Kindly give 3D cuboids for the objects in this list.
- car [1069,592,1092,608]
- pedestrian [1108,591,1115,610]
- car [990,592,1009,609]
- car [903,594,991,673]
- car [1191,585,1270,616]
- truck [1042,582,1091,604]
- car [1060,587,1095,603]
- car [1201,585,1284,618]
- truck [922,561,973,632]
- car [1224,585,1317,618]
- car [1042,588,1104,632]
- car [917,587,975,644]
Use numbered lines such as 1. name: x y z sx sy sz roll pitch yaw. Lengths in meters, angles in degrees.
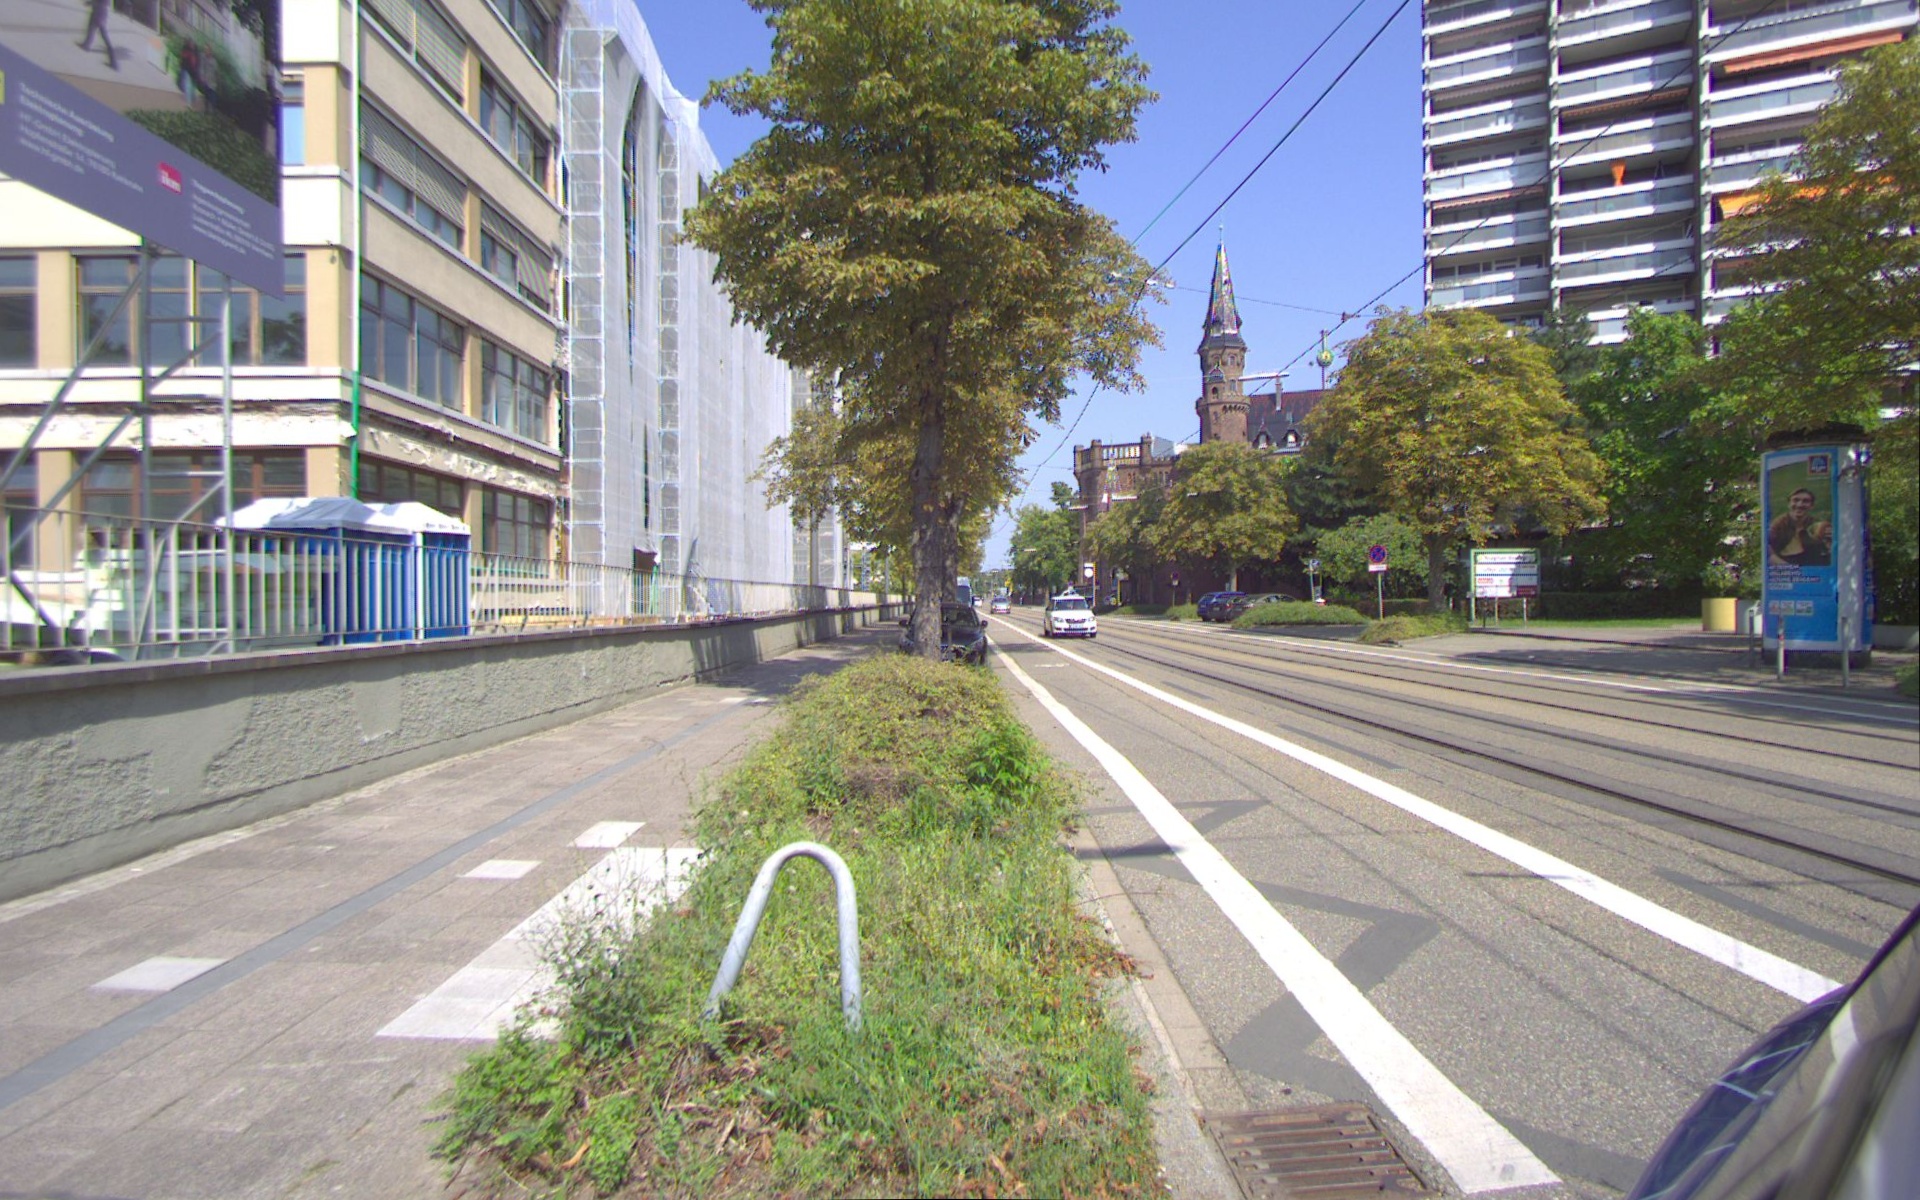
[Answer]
1. car: 12.176 0.001 102.447 1.905 1.521 4.511 -1 0 2
2. pedestrian: 15.408 0.056 103.166 0.503 2.006 0.511 -1 0 44
3. car: 3.727 0.027 95.533 1.647 1.505 3.778 0 0 0
4. car: -0.253 0.634 21.288 1.647 1.476 4.663 0 0 0
5. car: 14.944 0.023 55.917 3.917 1.669 1.845 -1 0 -23
6. truck: 14.756 -0.933 140.753 6.394 2.556 2.316 -5 -1 1
7. car: 15.626 -0.673 134.724 4.331 1.820 1.998 -5 -1 3
8. car: 14.672 0.071 52.534 3.918 1.590 1.783 -1 0 -27
9. truck: -0.534 -0.154 40.693 1.886 2.632 5.593 -1 0 -1
10. car: 15.154 0.082 49.340 4.208 1.516 1.783 -1 0 -26
11. car: 4.043 0.353 36.858 1.791 1.511 4.018 0 0 0
12. car: -0.418 0.424 31.379 1.648 1.599 4.171 1 0 0
